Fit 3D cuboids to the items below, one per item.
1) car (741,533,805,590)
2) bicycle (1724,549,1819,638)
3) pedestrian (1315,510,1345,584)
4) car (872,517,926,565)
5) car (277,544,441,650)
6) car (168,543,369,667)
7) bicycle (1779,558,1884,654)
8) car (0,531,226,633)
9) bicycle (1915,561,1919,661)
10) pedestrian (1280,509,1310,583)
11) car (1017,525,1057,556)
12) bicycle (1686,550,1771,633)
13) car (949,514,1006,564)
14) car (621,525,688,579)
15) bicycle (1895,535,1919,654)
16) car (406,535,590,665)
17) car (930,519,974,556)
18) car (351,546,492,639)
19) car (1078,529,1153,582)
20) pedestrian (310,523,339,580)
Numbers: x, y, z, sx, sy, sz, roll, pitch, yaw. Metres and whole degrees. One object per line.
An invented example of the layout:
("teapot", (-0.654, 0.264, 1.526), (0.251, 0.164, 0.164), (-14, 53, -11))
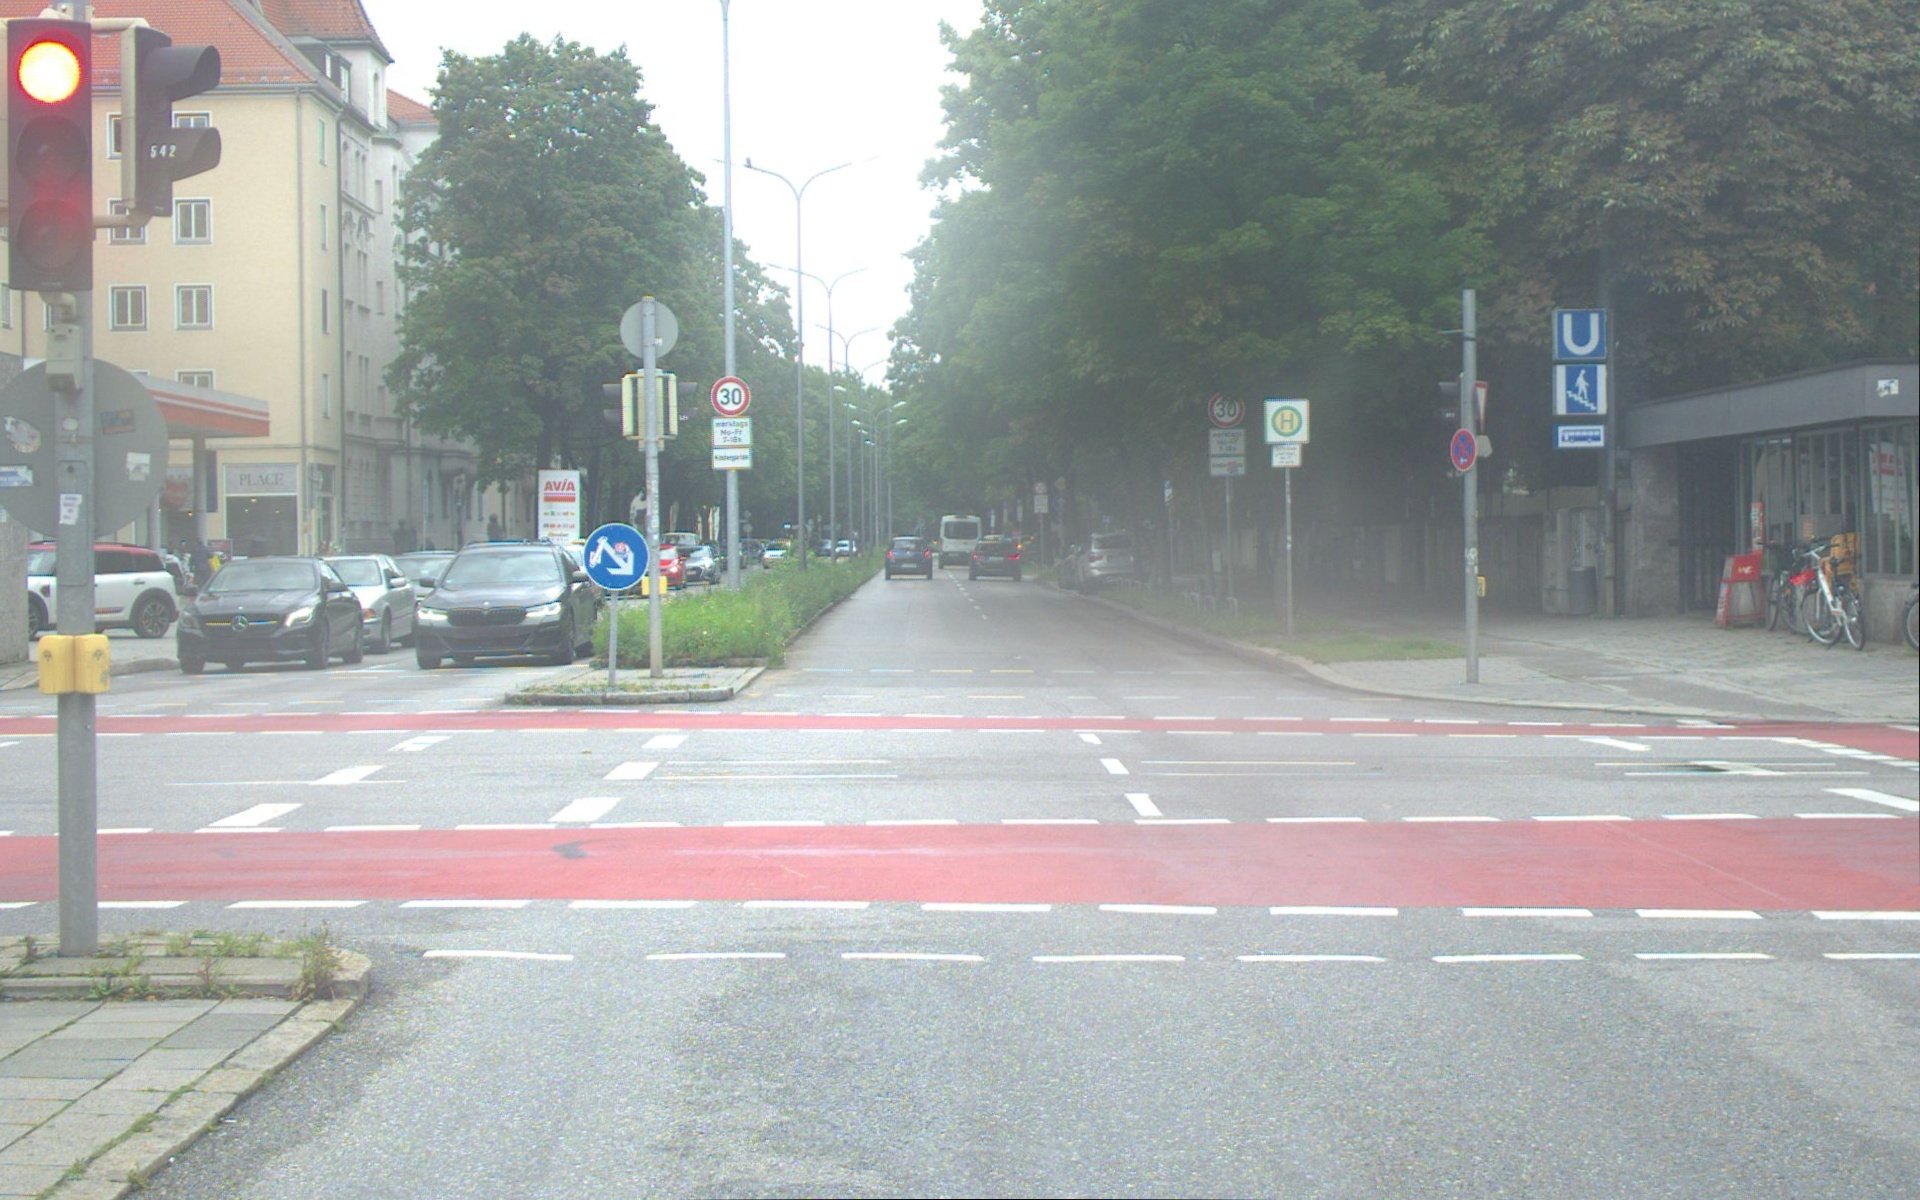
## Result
("car", (-4.736, -1.001, 87.501), (1.468, 1.394, 3.700), (-1, 1, -1))
("bicycle", (9.568, -0.088, 40.571), (0.556, 1.011, 2.016), (-1, 1, -3))
("pedestrian", (8.454, -1.214, 78.565), (0.678, 1.677, 0.682), (0, 1, 6))
("car", (-2.155, -2.104, 122.169), (1.857, 1.678, 4.000), (-1, 1, -1))
("car", (-8.805, -0.072, 50.661), (1.759, 1.455, 4.000), (-1, 1, -1))
("car", (-8.676, 0.031, 43.426), (1.759, 1.455, 4.000), (-1, 1, -1))
("bicycle", (9.578, 0.051, 37.841), (0.556, 1.011, 2.016), (-1, 1, -3))
("car", (-14.285, -0.326, 56.902), (1.814, 1.603, 3.959), (0, 2, 37))
("bicycle", (10.763, 0.105, 34.606), (2.143, 1.011, 0.603), (0, 1, 8))
("pedestrian", (7.641, -1.227, 78.368), (0.678, 1.677, 0.682), (0, 1, 6))
("car", (3.598, -2.782, 161.204), (1.743, 1.422, 3.899), (-1, 1, -1))
("bicycle", (9.824, -0.122, 44.006), (0.556, 1.011, 2.016), (-1, 1, -3))
("car", (0.597, -2.132, 121.008), (1.922, 1.678, 4.000), (1, 1, 0))
("car", (-9.613, -1.531, 108.347), (1.876, 1.662, 4.001), (-1, 1, -2))
("bicycle", (10.755, -0.070, 35.322), (2.143, 1.214, 0.603), (0, 1, 8))
("car", (-5.636, -0.037, 42.318), (1.759, 1.488, 4.000), (-1, 1, -1))
("car", (-0.396, -2.968, 162.976), (1.993, 1.750, 4.000), (-1, 1, -1))
("car", (-8.925, -0.149, 57.218), (1.759, 1.455, 4.000), (-1, 1, -1))
("car", (4.112, -1.202, 91.438), (1.743, 1.358, 3.807), (-1, 1, -1))
("pedestrian", (-18.259, -1.403, 98.776), (0.696, 1.632, 0.738), (-1, 1, 0))
